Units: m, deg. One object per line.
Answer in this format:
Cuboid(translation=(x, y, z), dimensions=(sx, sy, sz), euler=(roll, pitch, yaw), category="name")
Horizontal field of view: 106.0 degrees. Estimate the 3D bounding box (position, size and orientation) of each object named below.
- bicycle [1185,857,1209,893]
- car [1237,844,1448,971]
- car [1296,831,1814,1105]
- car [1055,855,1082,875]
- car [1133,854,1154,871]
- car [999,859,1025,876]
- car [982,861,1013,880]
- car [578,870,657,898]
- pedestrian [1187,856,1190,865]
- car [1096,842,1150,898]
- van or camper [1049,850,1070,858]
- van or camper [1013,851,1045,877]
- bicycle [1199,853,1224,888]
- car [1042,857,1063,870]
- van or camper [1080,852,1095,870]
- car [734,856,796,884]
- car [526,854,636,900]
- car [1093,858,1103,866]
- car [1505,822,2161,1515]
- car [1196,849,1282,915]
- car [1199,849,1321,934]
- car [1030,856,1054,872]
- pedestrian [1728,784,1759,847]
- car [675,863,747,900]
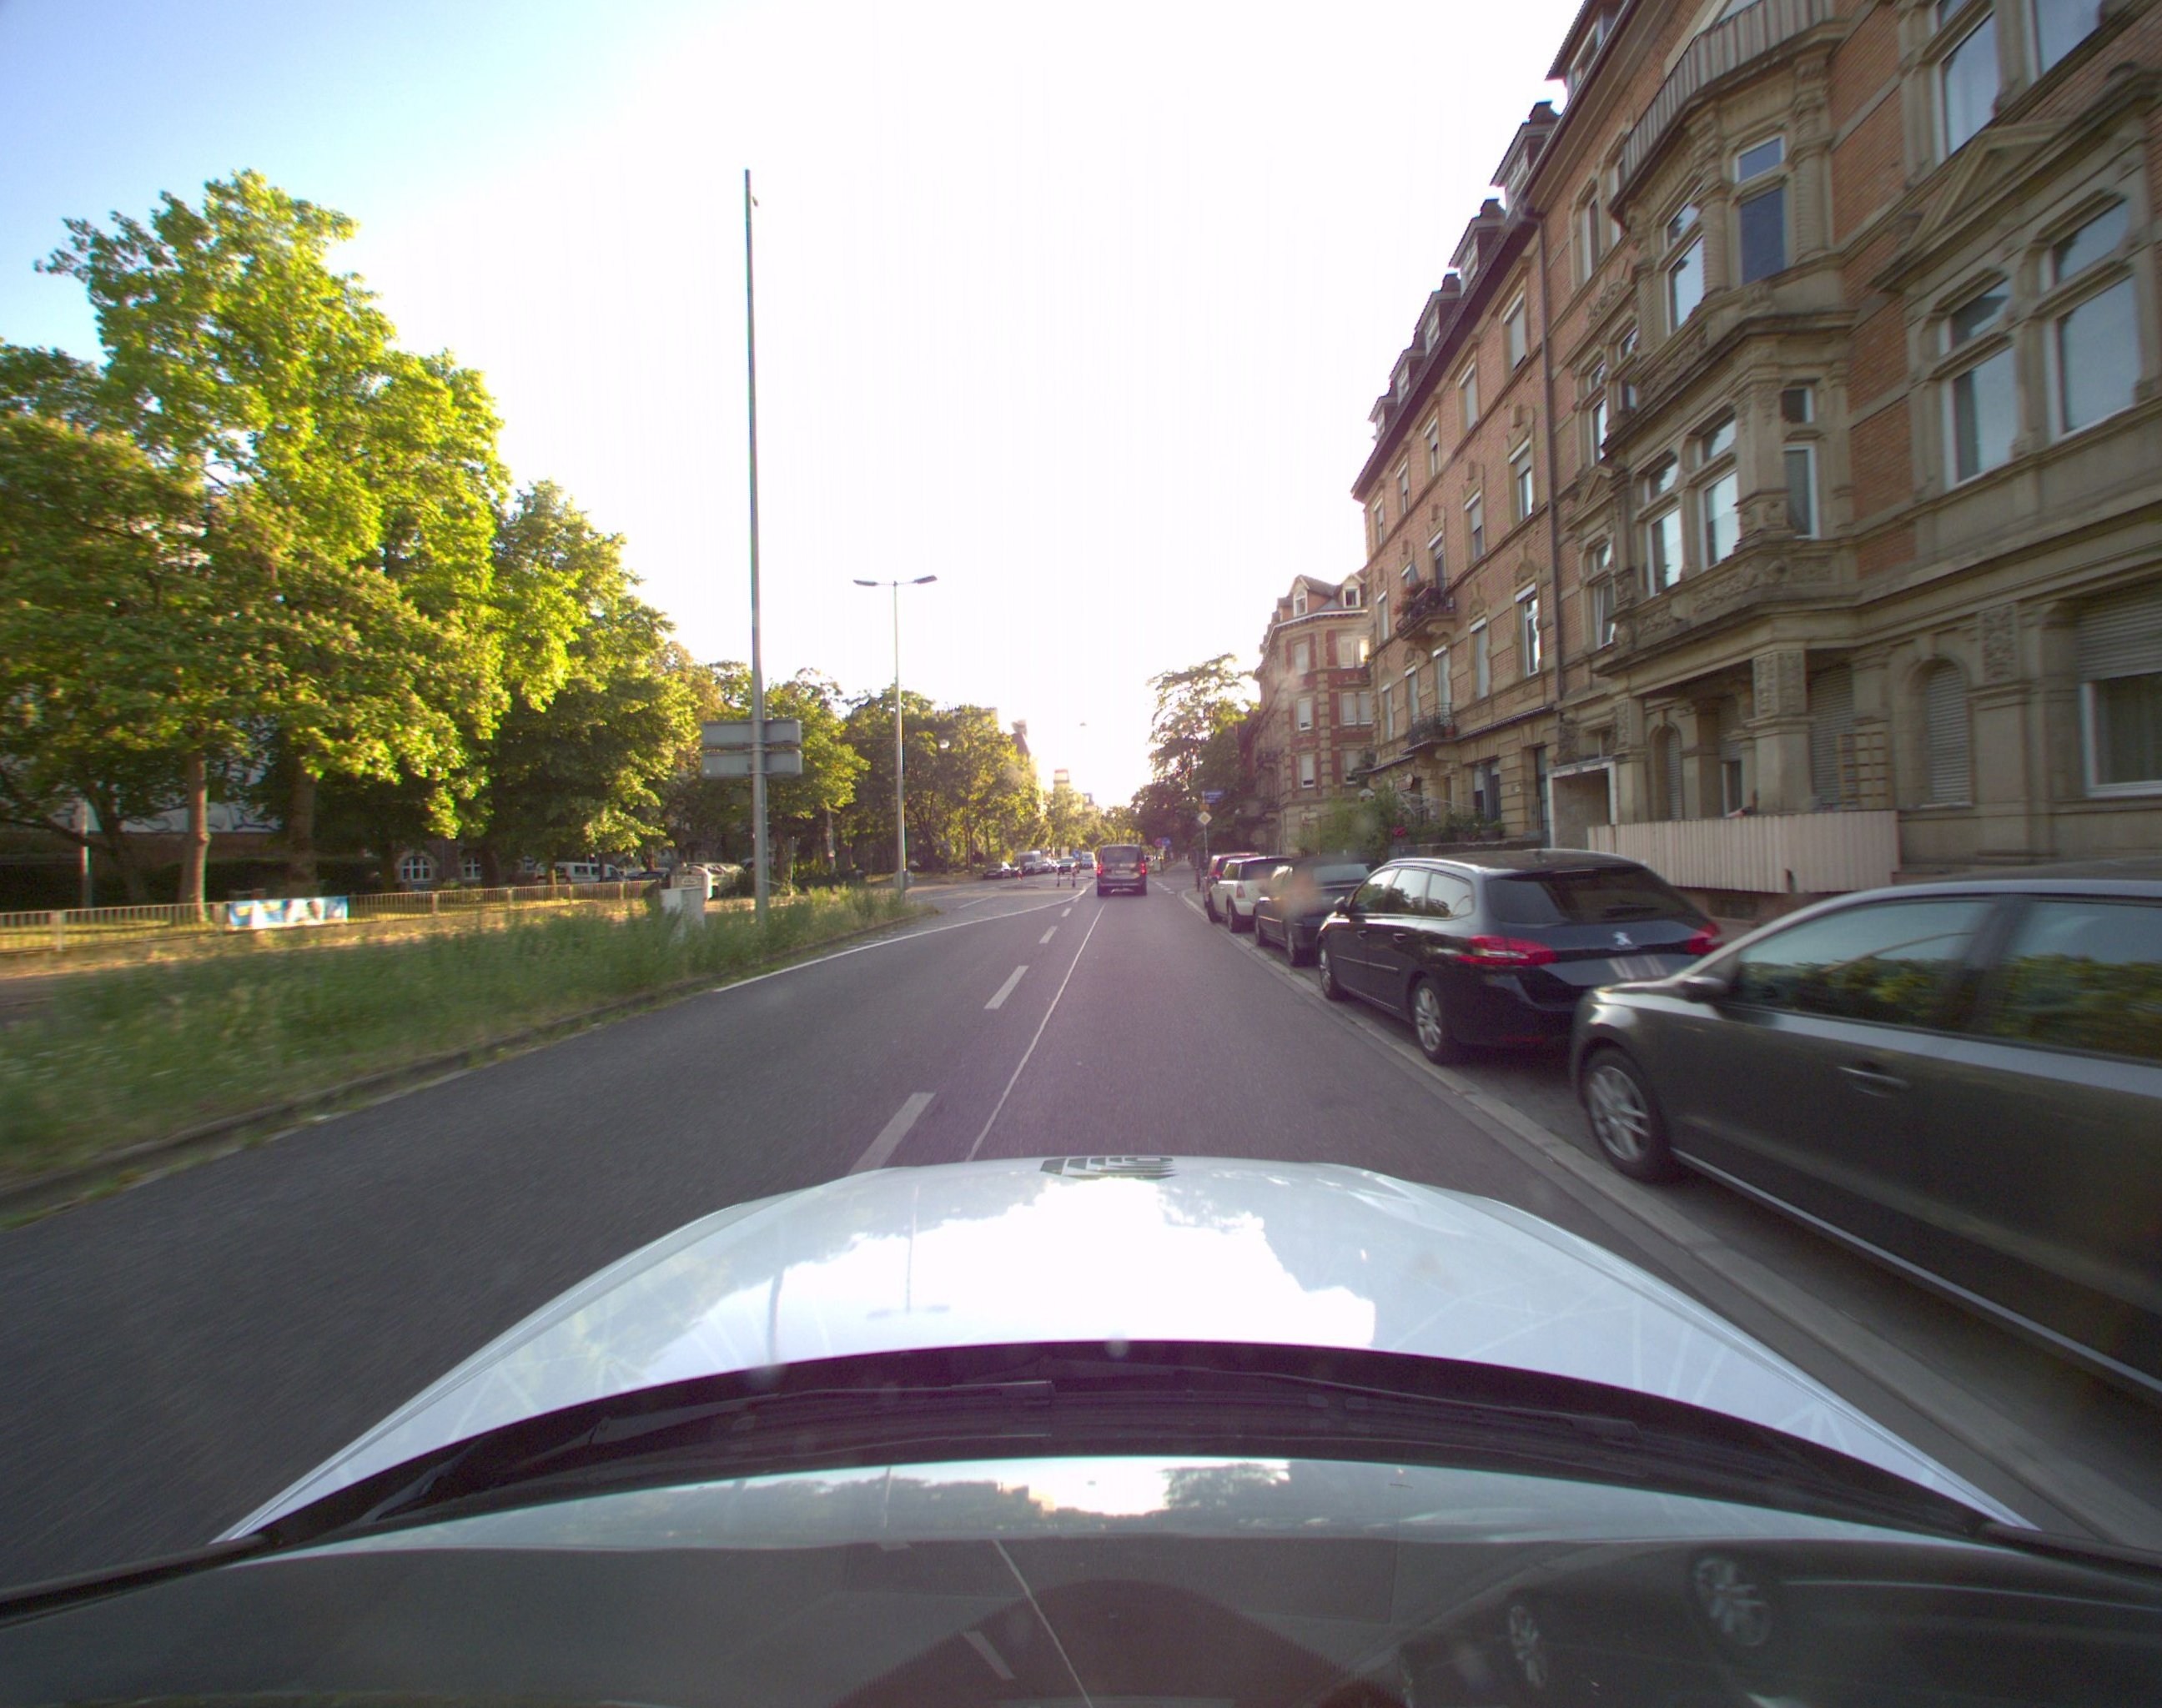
Cuboid(translation=(4.518, 0.836, 31.801), dimensions=(0.563, 1.299, 2.266), euler=(-6, -2, 3), category="bicycle")
Cuboid(translation=(3.682, 0.672, 12.356), dimensions=(1.880, 1.426, 4.345), euler=(-5, 0, 3), category="car")
Cuboid(translation=(3.384, 0.681, 7.046), dimensions=(1.880, 1.448, 4.465), euler=(-5, 0, 2), category="car")
Cuboid(translation=(-1.198, 1.079, 80.600), dimensions=(1.866, 1.706, 4.579), euler=(-5, -1, 9), category="car")
Cuboid(translation=(6.457, 0.817, 83.476), dimensions=(1.983, 1.634, 4.007), euler=(-2, 0, 6), category="car")
Cuboid(translation=(-6.423, 1.224, 76.097), dimensions=(1.620, 1.429, 4.250), euler=(-3, 0, 6), category="car")
Cuboid(translation=(-7.122, 1.372, 69.932), dimensions=(1.615, 1.506, 4.553), euler=(-3, 0, 7), category="car")
Cuboid(translation=(-24.709, 1.583, 43.571), dimensions=(1.725, 1.332, 4.003), euler=(-1, 0, 3), category="car")
Cuboid(translation=(21.675, 1.317, 164.668), dimensions=(0.641, 1.633, 0.657), euler=(0, 0, 7), category="pedestrian")
Cuboid(translation=(1.627, 0.579, 31.493), dimensions=(1.879, 1.925, 3.842), euler=(-3, 0, 3), category="car")
Cuboid(translation=(-6.824, -0.053, 256.776), dimensions=(6.531, 2.522, 2.453), euler=(0, 0, 5), category="van or camper")
Cuboid(translation=(-5.325, 0.991, 83.588), dimensions=(2.080, 2.468, 6.317), euler=(-3, 0, 6), category="van or camper")
Cuboid(translation=(5.079, 0.654, 31.794), dimensions=(0.563, 1.275, 2.266), euler=(-6, -2, 3), category="bicycle")
Cuboid(translation=(-3.376, 1.093, 96.527), dimensions=(1.727, 1.445, 4.634), euler=(-2, 0, 7), category="car")
Cuboid(translation=(1.034, 1.007, 123.827), dimensions=(1.985, 2.668, 6.043), euler=(0, 0, 3), category="van or camper")
Cuboid(translation=(-31.609, 1.575, 81.575), dimensions=(2.244, 2.485, 5.267), euler=(-2, 0, 41), category="car")
Cuboid(translation=(-26.890, 1.178, 44.049), dimensions=(2.202, 2.289, 5.112), euler=(-1, 0, 9), category="car")
Cuboid(translation=(2.893, 1.396, 138.023), dimensions=(1.528, 1.248, 3.620), euler=(0, 0, 6), category="car")
Cuboid(translation=(3.225, 0.673, 2.593), dimensions=(1.740, 1.426, 3.842), euler=(-5, 0, 2), category="car")
Cuboid(translation=(4.095, 0.679, 21.592), dimensions=(1.718, 1.465, 3.550), euler=(-5, 0, 4), category="car")
Cuboid(translation=(3.586, 0.698, 16.941), dimensions=(1.671, 1.426, 3.677), euler=(-5, 0, 1), category="car")
Cuboid(translation=(-4.304, 1.096, 91.054), dimensions=(1.856, 1.645, 4.580), euler=(-3, 0, 7), category="car")
Cuboid(translation=(9.288, -0.532, 11.424), dimensions=(0.305, 0.870, 0.322), euler=(0, 0, 35), category="pedestrian")
Cuboid(translation=(-19.502, 1.400, 43.098), dimensions=(1.811, 1.795, 4.003), euler=(-1, 0, 3), category="car")
